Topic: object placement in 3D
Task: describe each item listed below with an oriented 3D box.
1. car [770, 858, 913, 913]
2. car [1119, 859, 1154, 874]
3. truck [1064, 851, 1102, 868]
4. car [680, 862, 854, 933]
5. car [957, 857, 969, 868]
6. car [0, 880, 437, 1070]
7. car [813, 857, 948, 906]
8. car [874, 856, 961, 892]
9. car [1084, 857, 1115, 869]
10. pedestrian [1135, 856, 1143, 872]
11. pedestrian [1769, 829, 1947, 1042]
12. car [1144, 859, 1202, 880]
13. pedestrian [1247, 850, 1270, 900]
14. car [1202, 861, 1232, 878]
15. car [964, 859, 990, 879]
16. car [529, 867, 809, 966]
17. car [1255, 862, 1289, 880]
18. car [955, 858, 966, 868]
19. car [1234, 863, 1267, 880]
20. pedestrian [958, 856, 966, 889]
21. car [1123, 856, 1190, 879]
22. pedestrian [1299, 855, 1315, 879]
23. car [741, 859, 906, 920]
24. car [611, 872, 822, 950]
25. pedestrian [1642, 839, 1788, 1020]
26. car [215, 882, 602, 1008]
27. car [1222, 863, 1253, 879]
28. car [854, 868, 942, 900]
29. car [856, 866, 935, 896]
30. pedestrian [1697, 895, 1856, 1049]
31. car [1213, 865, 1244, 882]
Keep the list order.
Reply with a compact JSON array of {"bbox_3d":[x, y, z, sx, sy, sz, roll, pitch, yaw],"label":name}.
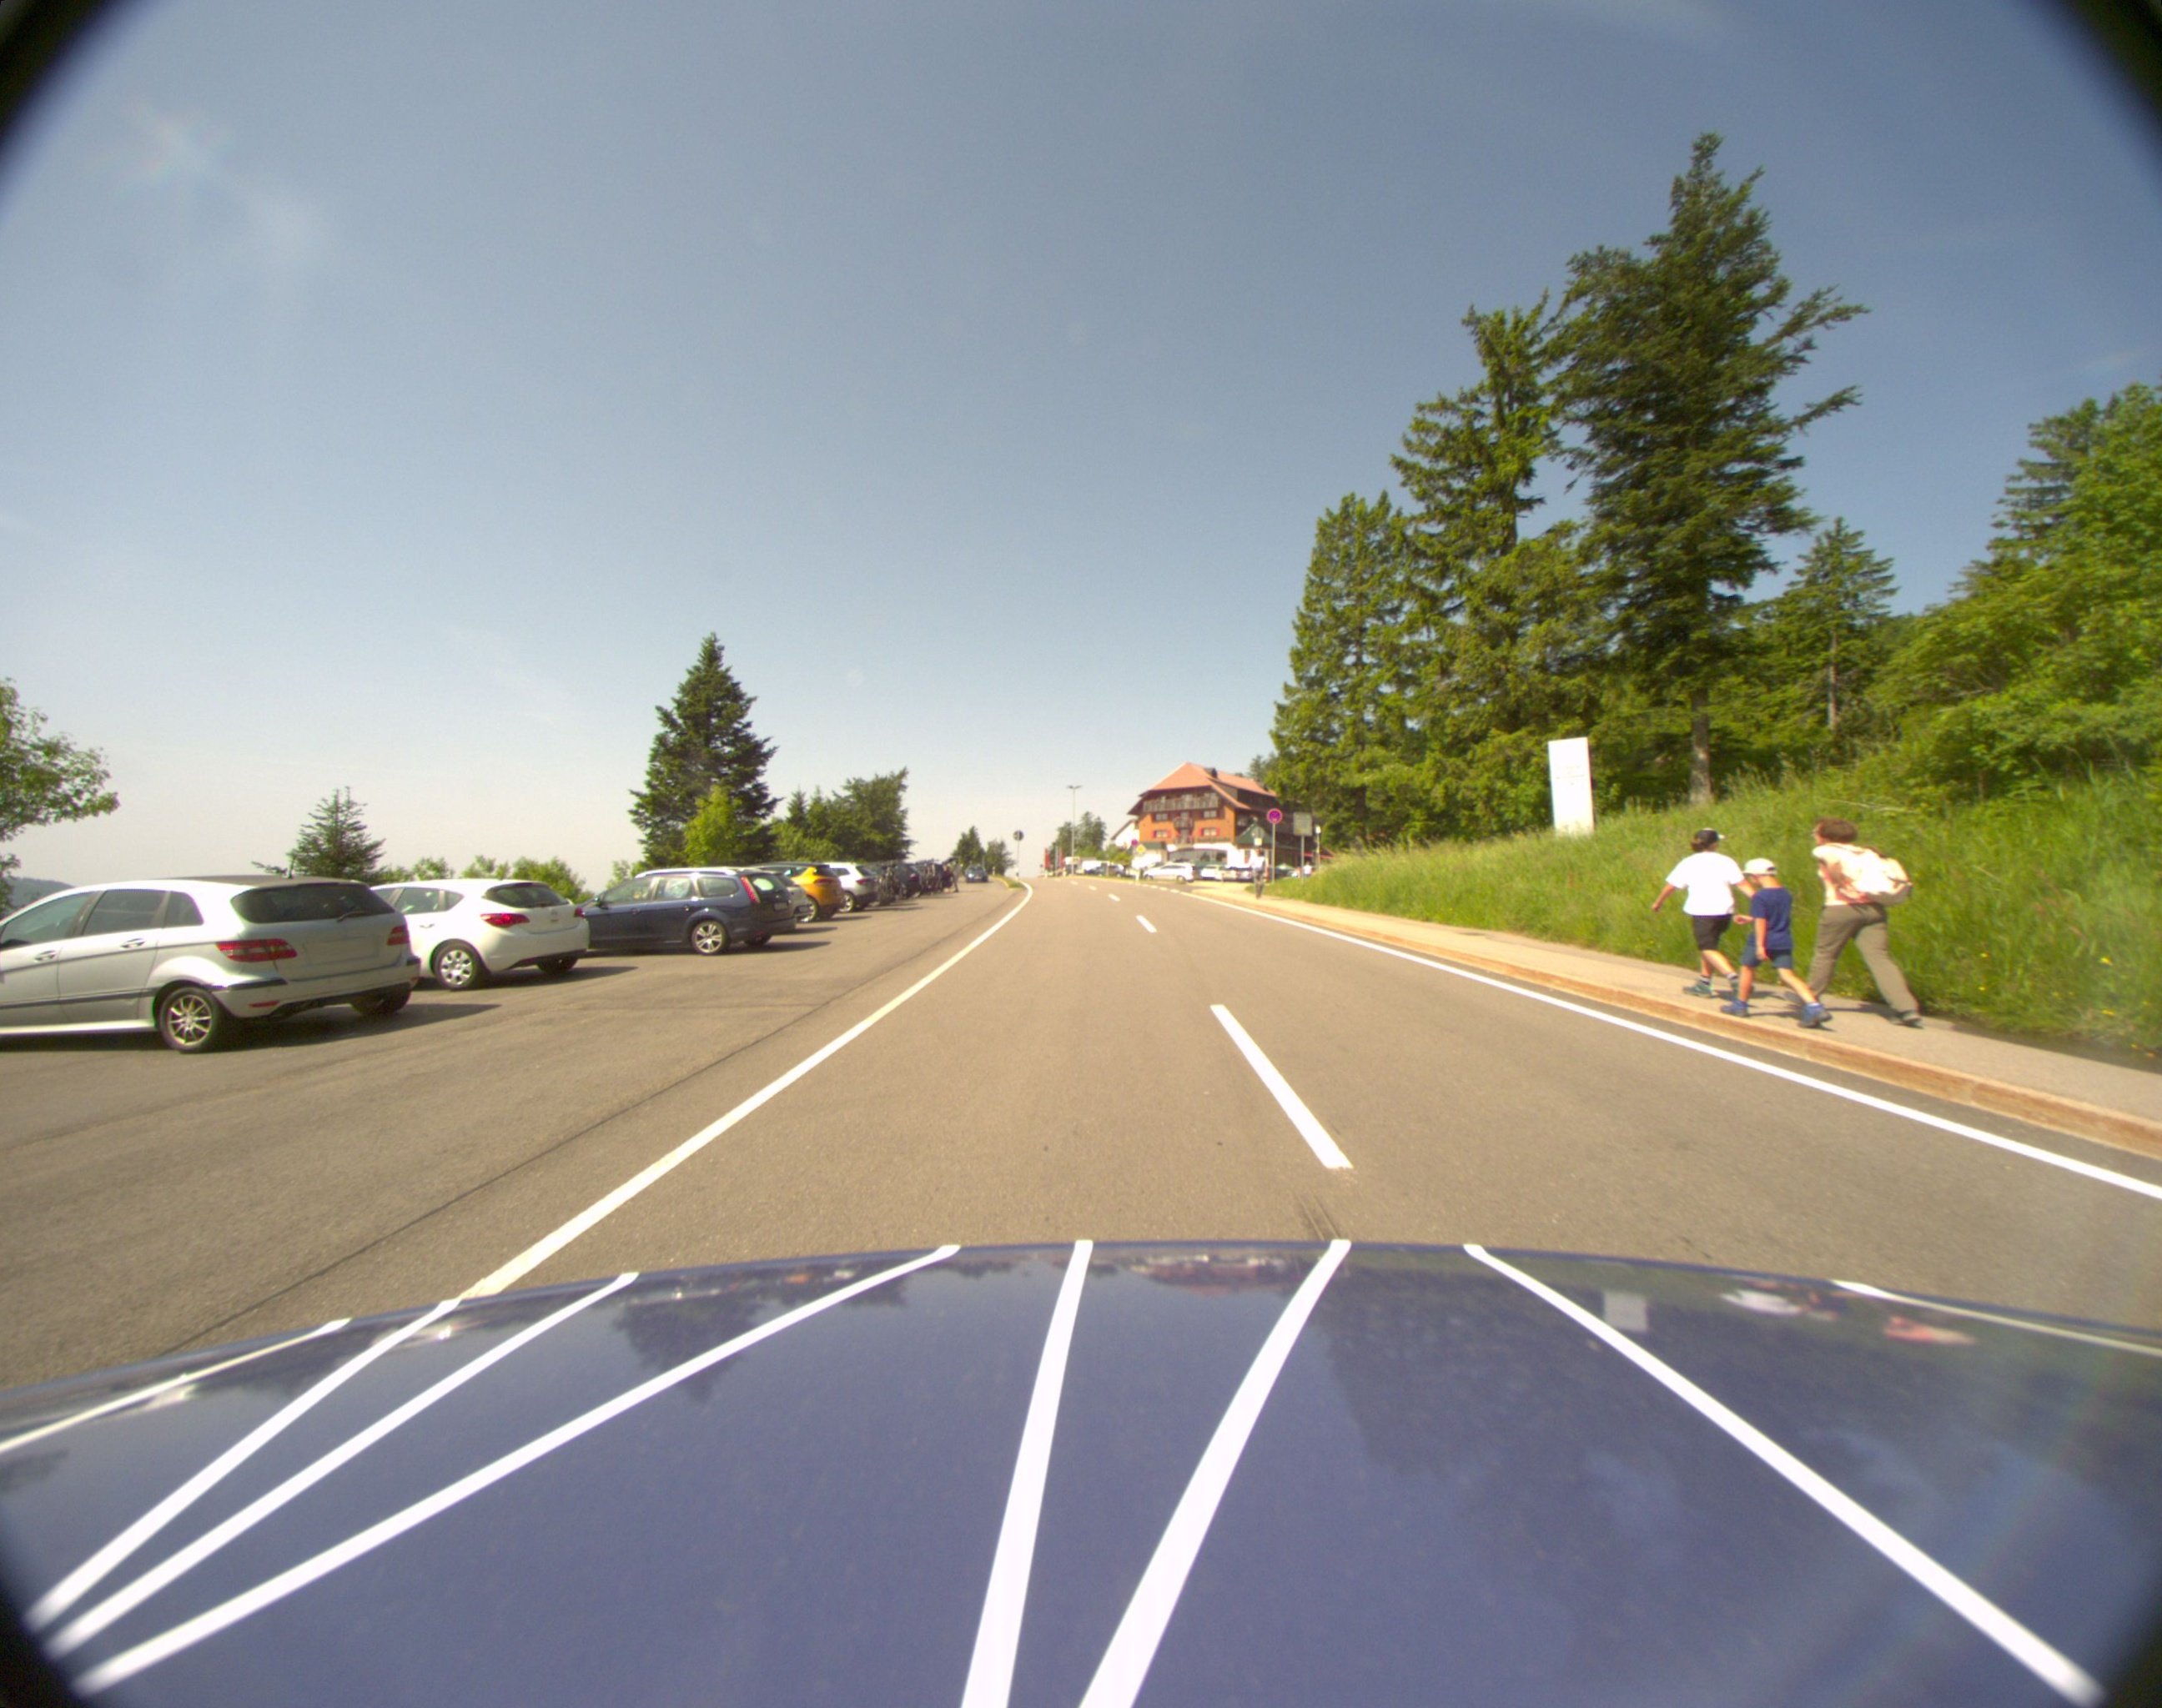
[{"bbox_3d":[-8.372,1.089,26.905,4.431,1.609,1.752,-4,0,-3],"label":"car"},{"bbox_3d":[5.986,1.335,81.773,3.325,1.583,1.720,-1,0,40],"label":"car"},{"bbox_3d":[0.468,0.996,136.957,2.862,2.813,8.777,-1,0,30],"label":"truck"},{"bbox_3d":[-8.350,1.128,20.453,3.887,1.606,1.709,-4,0,-1],"label":"car"},{"bbox_3d":[-22.829,1.696,146.686,2.000,2.002,3.996,-1,0,-11],"label":"car"},{"bbox_3d":[-9.209,1.149,7.687,3.995,1.565,1.767,-2,0,6],"label":"car"},{"bbox_3d":[-8.430,1.128,32.332,5.114,1.610,2.000,-4,0,-2],"label":"car"},{"bbox_3d":[-8.833,1.079,41.431,4.325,1.811,1.999,-2,0,-4],"label":"car"},{"bbox_3d":[3.141,1.521,129.534,5.251,1.894,2.000,-1,0,1],"label":"car"},{"bbox_3d":[6.417,1.117,84.454,0.779,1.689,0.683,-1,0,-1],"label":"pedestrian"},{"bbox_3d":[6.375,0.632,6.288,0.577,1.633,0.894,-1,0,3],"label":"pedestrian"},{"bbox_3d":[7.017,1.183,58.053,3.952,1.578,1.793,-1,0,33],"label":"car"},{"bbox_3d":[6.203,0.724,26.575,0.581,1.731,0.686,-1,0,-6],"label":"pedestrian"},{"bbox_3d":[13.524,1.502,75.280,1.710,1.543,3.141,-1,0,37],"label":"car"},{"bbox_3d":[-8.629,1.244,62.829,2.000,1.537,3.997,-1,0,-9],"label":"car"},{"bbox_3d":[-7.315,1.082,13.748,4.139,1.535,1.672,-2,0,3],"label":"car"},{"bbox_3d":[15.883,1.403,63.084,1.708,1.387,3.323,-1,-1,34],"label":"car"},{"bbox_3d":[-24.059,1.731,151.420,1.954,1.970,4.066,-1,0,-13],"label":"car"},{"bbox_3d":[14.728,1.531,65.909,1.714,1.425,3.322,-1,0,34],"label":"car"},{"bbox_3d":[-6.585,1.015,42.143,0.367,1.812,0.549,-1,0,-4],"label":"pedestrian"},{"bbox_3d":[6.423,1.150,64.944,5.350,1.858,2.004,-1,0,28],"label":"car"},{"bbox_3d":[16.227,0.940,54.633,0.910,1.731,0.638,0,0,41],"label":"pedestrian"},{"bbox_3d":[-8.053,1.076,24.128,4.488,1.617,2.013,-3,0,-3],"label":"car"},{"bbox_3d":[-8.093,1.240,17.118,3.893,1.412,1.613,-3,1,0],"label":"car"},{"bbox_3d":[5.688,0.642,6.872,0.582,1.528,0.880,-1,0,0],"label":"pedestrian"},{"bbox_3d":[-9.288,1.227,10.688,3.995,1.411,1.767,-3,0,6],"label":"car"},{"bbox_3d":[14.236,1.513,68.983,1.636,1.425,3.323,-1,-1,34],"label":"car"},{"bbox_3d":[-8.434,1.365,35.240,3.709,1.261,1.564,-3,-1,-4],"label":"car"},{"bbox_3d":[-9.300,1.348,38.353,3.686,1.343,1.737,-2,0,-10],"label":"car"},{"bbox_3d":[5.409,0.888,5.953,0.570,1.095,0.745,-1,0,3],"label":"pedestrian"},{"bbox_3d":[14.059,1.832,72.401,1.727,1.457,3.527,-1,0,33],"label":"car"}]
